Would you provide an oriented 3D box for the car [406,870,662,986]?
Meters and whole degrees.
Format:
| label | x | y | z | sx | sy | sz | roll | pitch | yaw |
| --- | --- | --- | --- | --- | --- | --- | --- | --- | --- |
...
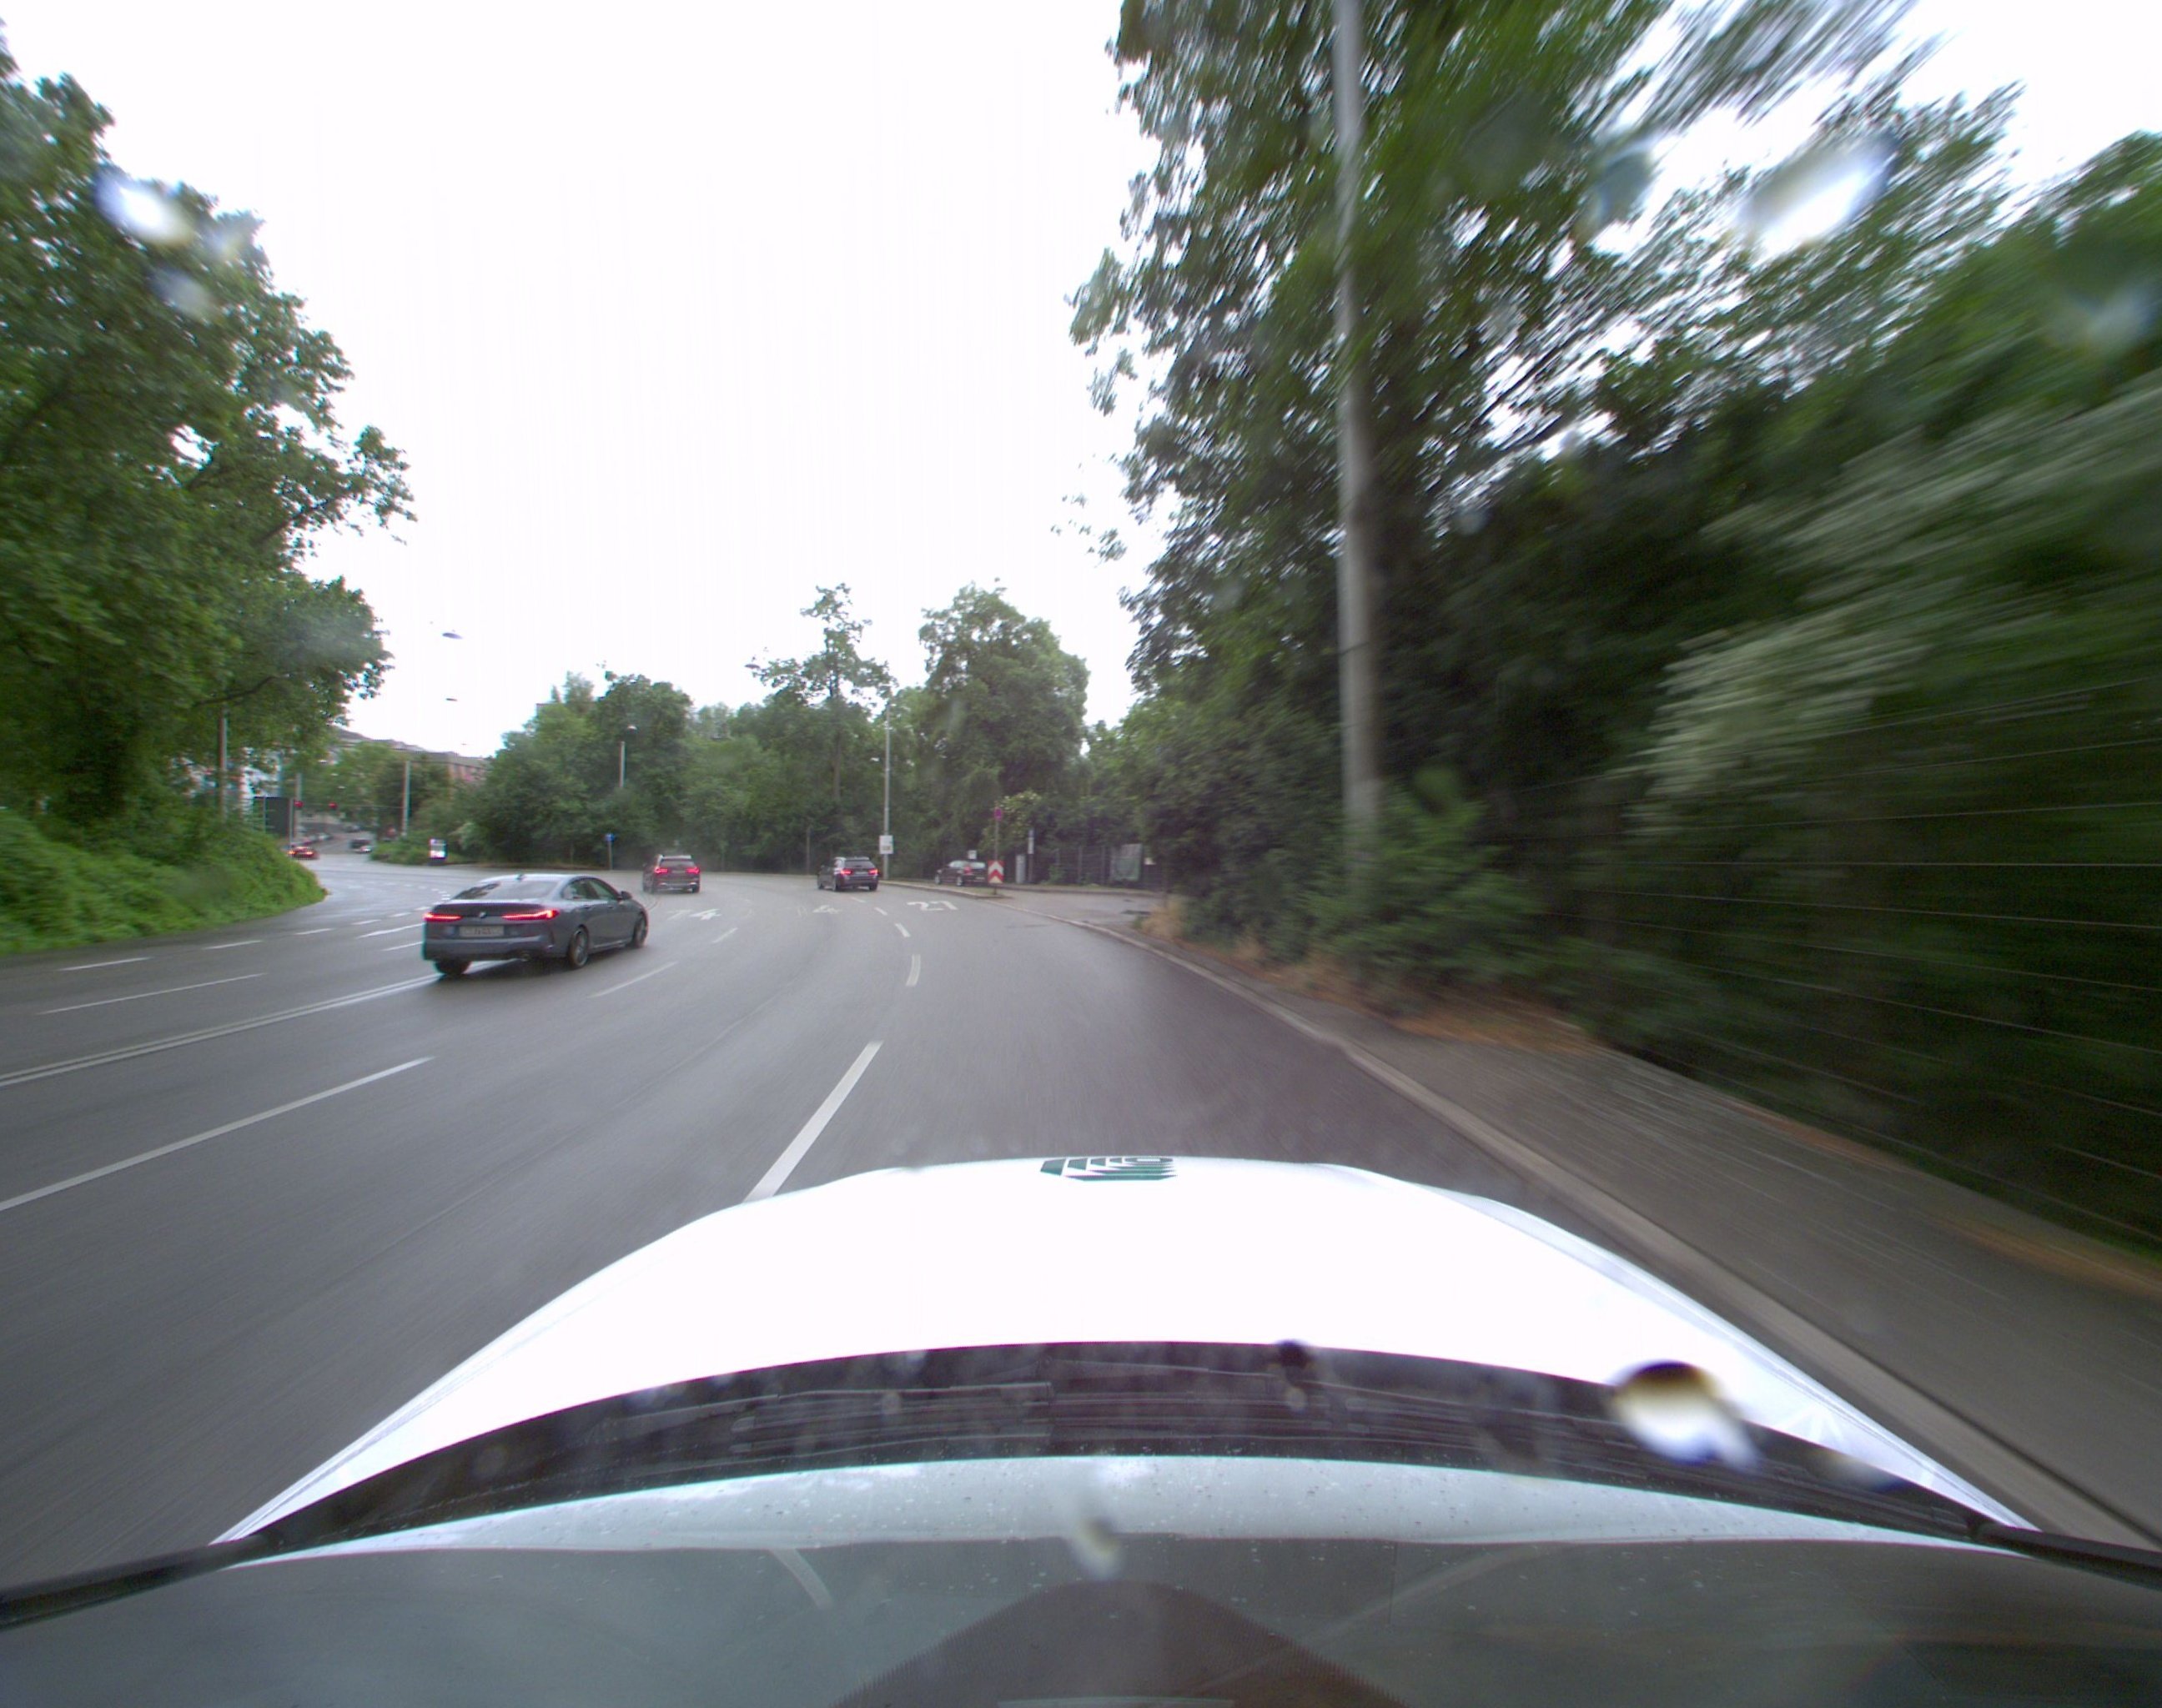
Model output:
| label | x | y | z | sx | sy | sz | roll | pitch | yaw |
| --- | --- | --- | --- | --- | --- | --- | --- | --- | --- |
| car | -8.479 | 1.028 | 13.184 | 1.665 | 1.415 | 4.524 | -2 | 0 | -9 |

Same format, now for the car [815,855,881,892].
| label | x | y | z | sx | sy | sz | roll | pitch | yaw |
| --- | --- | --- | --- | --- | --- | --- | --- | --- | --- |
| car | -10.211 | 0.846 | 35.469 | 1.769 | 1.432 | 4.370 | -2 | -1 | -30 |

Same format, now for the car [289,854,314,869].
| label | x | y | z | sx | sy | sz | roll | pitch | yaw |
| --- | --- | --- | --- | --- | --- | --- | --- | --- | --- |
| car | -85.516 | 0.838 | 89.338 | 1.846 | 1.651 | 3.950 | 0 | 0 | -45 |

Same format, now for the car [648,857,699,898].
| label | x | y | z | sx | sy | sz | roll | pitch | yaw |
| --- | --- | --- | --- | --- | --- | --- | --- | --- | --- |
| car | -17.758 | 0.981 | 35.631 | 1.766 | 1.586 | 4.377 | -1 | 1 | -24 |

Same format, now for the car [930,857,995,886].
| label | x | y | z | sx | sy | sz | roll | pitch | yaw |
| --- | --- | --- | --- | --- | --- | --- | --- | --- | --- |
| car | -6.547 | 0.948 | 44.619 | 1.700 | 1.427 | 4.323 | 4 | -2 | -36 |
